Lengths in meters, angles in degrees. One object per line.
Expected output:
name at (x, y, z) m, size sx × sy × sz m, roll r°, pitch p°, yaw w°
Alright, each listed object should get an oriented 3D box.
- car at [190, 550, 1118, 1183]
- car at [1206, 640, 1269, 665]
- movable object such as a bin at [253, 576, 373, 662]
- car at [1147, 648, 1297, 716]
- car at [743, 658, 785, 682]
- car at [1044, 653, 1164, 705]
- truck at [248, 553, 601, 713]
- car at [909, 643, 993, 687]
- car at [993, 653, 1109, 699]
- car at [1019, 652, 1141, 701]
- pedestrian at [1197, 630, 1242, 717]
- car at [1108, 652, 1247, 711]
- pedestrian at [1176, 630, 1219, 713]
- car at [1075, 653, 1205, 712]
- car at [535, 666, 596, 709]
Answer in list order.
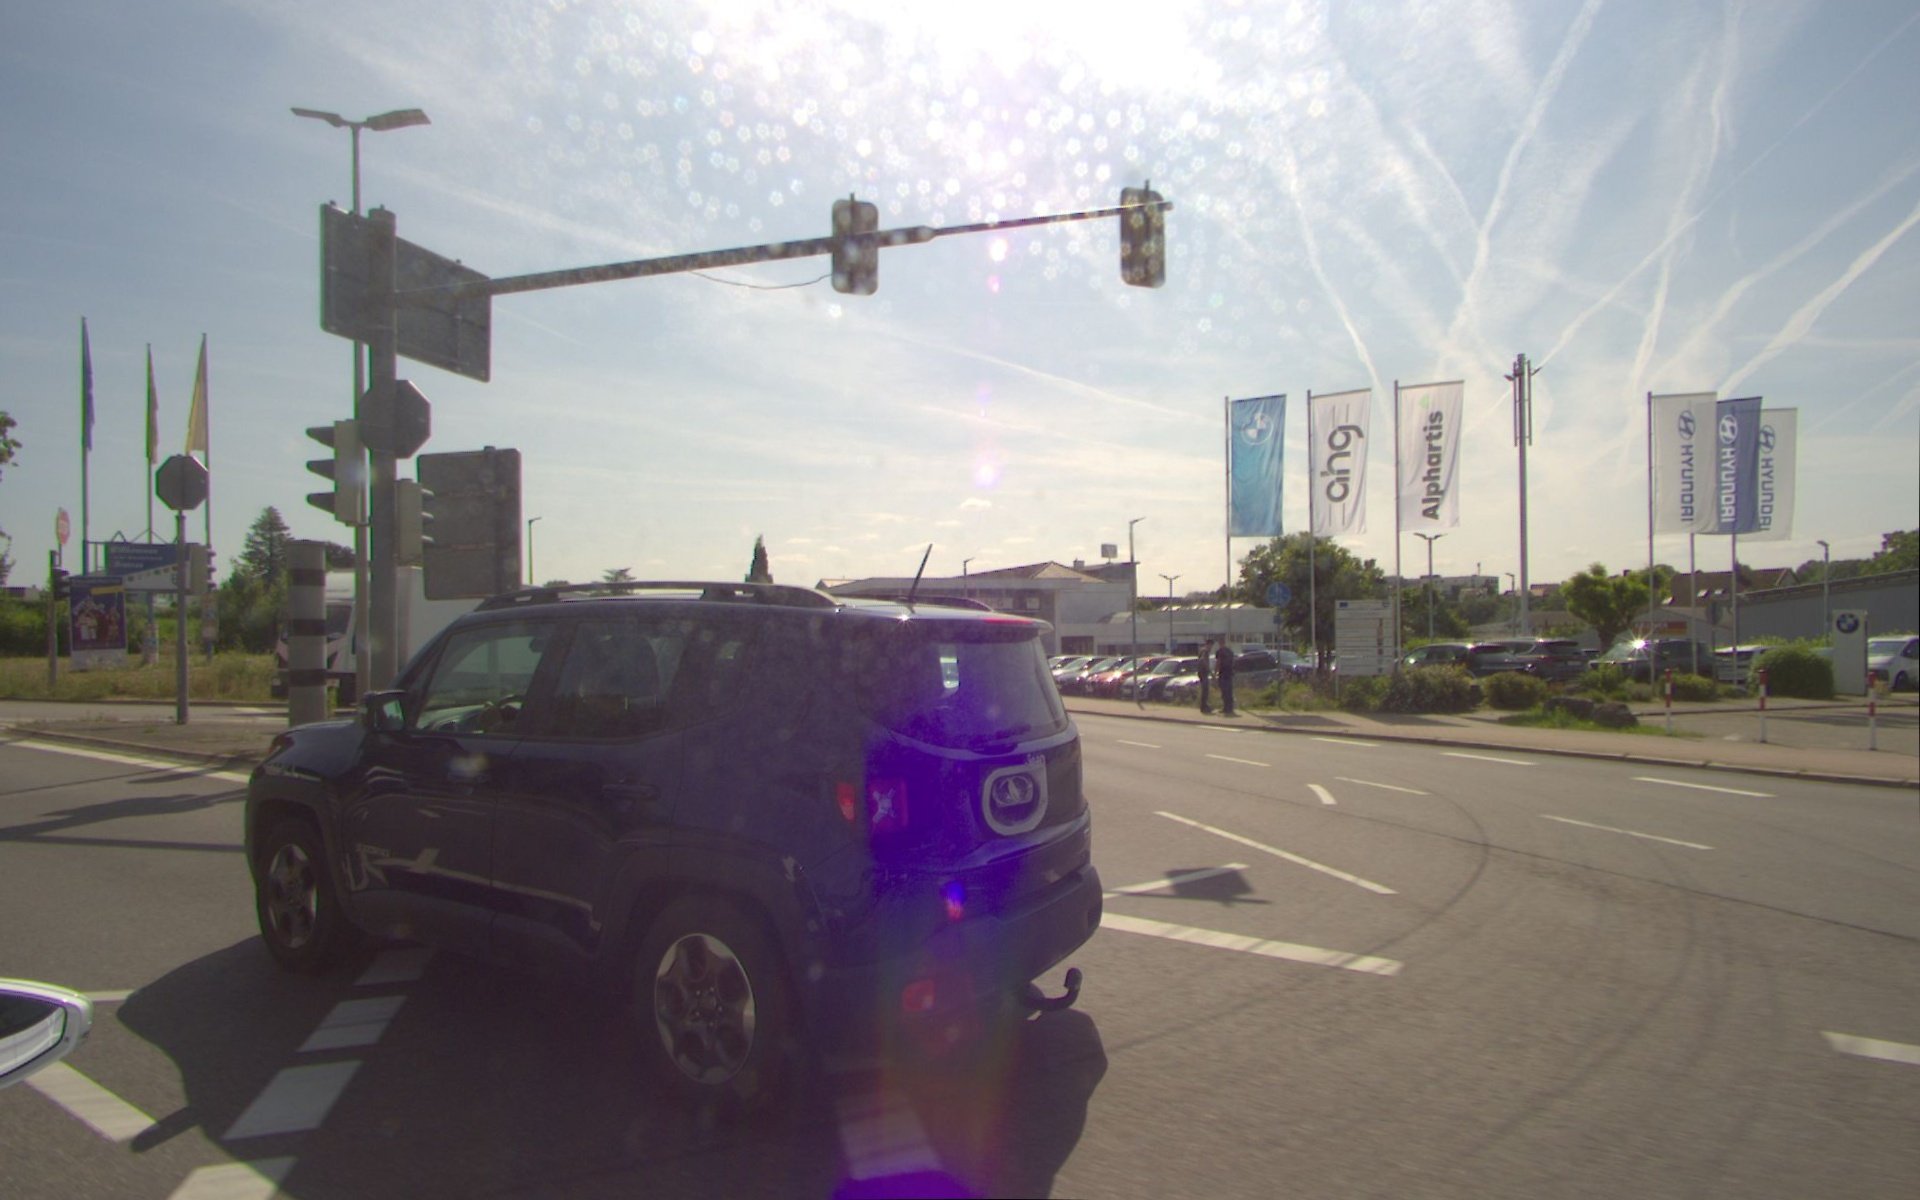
car at (-1.484, 0.744, 4.443) m, size 3.942 × 1.676 × 1.767 m, roll -1°, pitch 0°, yaw 32°
car at (20.643, 3.909, 74.466) m, size 4.117 × 1.639 × 2.004 m, roll -1°, pitch 0°, yaw -19°
movable object such as a bin at (-26.593, 0.748, 41.493) m, size 2.853 × 3.250 × 6.686 m, roll -1°, pitch 0°, yaw -22°
car at (7.853, 2.411, 30.039) m, size 3.932 × 1.746 × 1.995 m, roll -1°, pitch 0°, yaw -21°
car at (-13.730, 4.884, 70.063) m, size 1.969 × 1.594 × 3.988 m, roll 2°, pitch -3°, yaw -25°
car at (5.305, 2.872, 36.985) m, size 3.932 × 1.639 × 1.995 m, roll -1°, pitch 0°, yaw -21°
truck at (-14.160, 1.223, 27.962) m, size 2.716 × 3.669 × 9.707 m, roll -1°, pitch -6°, yaw 15°
car at (-0.480, 3.426, 53.403) m, size 4.016 × 2.062 × 2.061 m, roll -1°, pitch 0°, yaw -25°
car at (3.806, 3.129, 41.920) m, size 4.403 × 1.639 × 2.084 m, roll -1°, pitch 0°, yaw -25°
car at (4.743, 3.000, 39.600) m, size 4.406 × 1.639 × 1.994 m, roll -1°, pitch 0°, yaw -23°
pedestrian at (6.244, 1.751, 24.096) m, size 0.653 × 2.039 × 0.876 m, roll 0°, pitch -1°, yaw -21°
car at (7.014, 2.587, 32.307) m, size 3.932 × 1.595 × 1.995 m, roll -1°, pitch 0°, yaw -21°
pedestrian at (5.910, 1.765, 24.990) m, size 0.653 × 2.039 × 0.876 m, roll 0°, pitch -1°, yaw -21°
car at (6.206, 2.805, 34.600) m, size 3.932 × 1.750 × 1.995 m, roll -1°, pitch 0°, yaw -21°
car at (-15.218, 3.340, 38.788) m, size 1.965 × 1.478 × 4.314 m, roll -1°, pitch -3°, yaw -19°
